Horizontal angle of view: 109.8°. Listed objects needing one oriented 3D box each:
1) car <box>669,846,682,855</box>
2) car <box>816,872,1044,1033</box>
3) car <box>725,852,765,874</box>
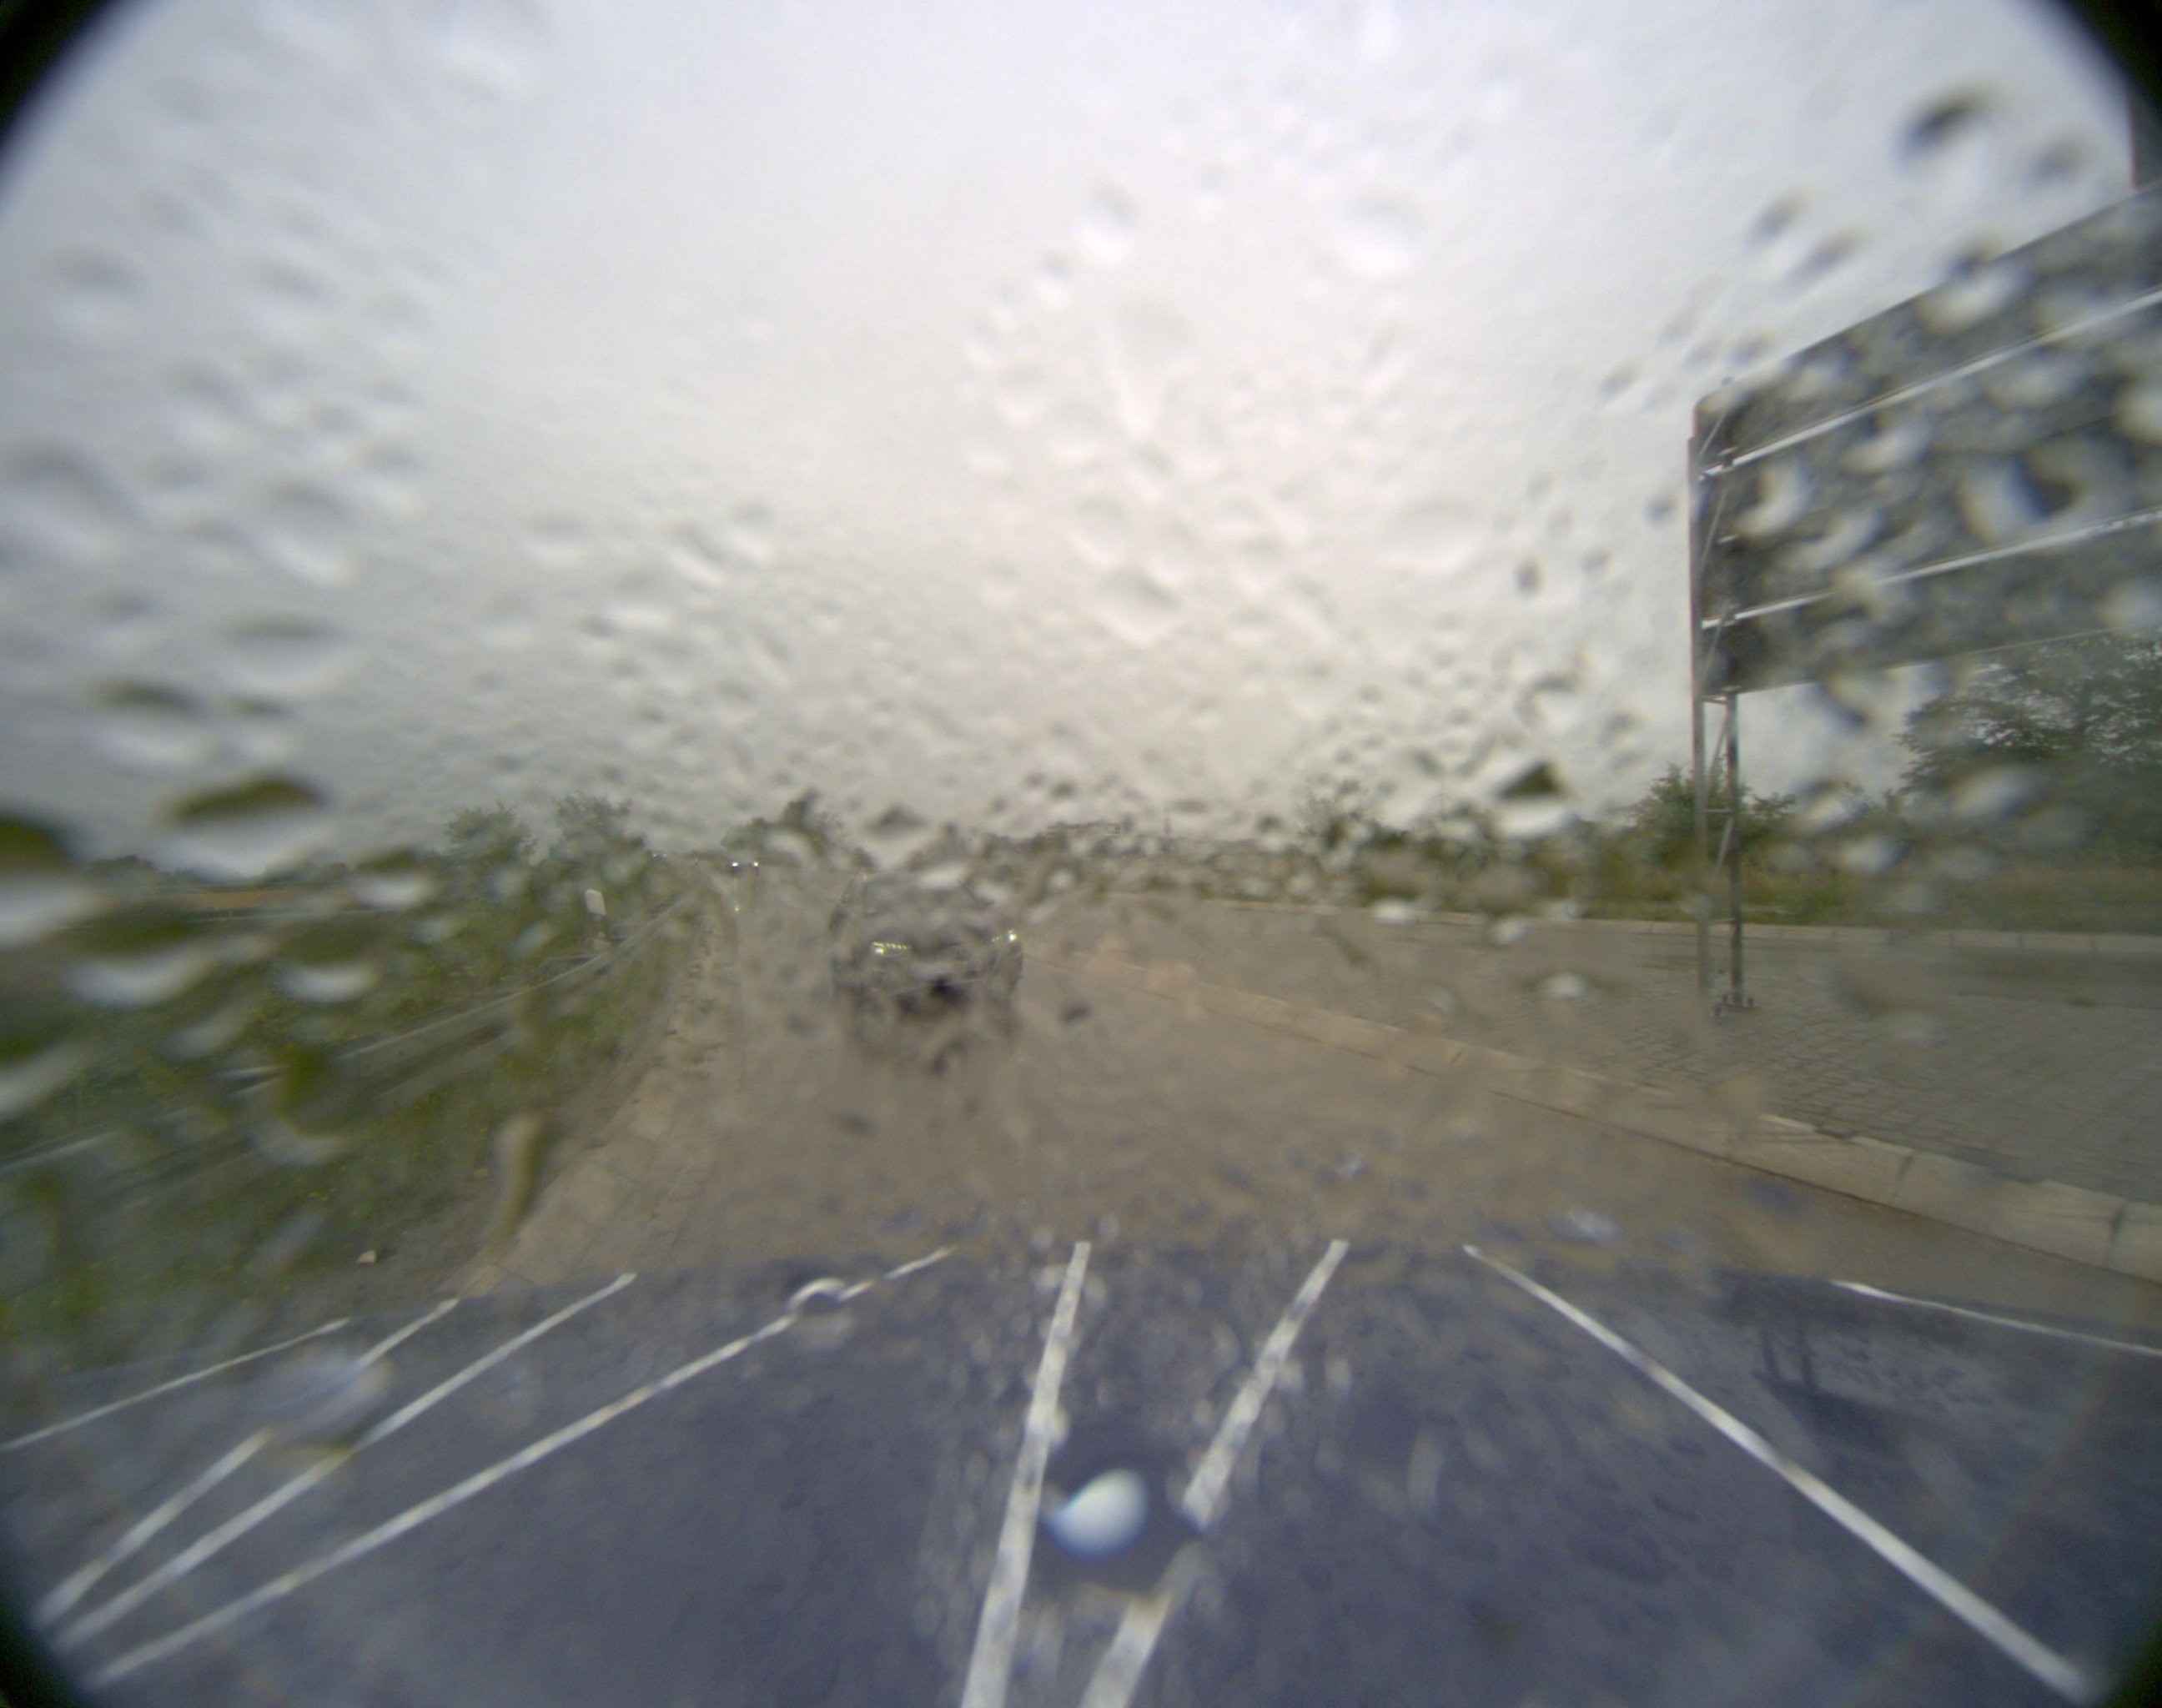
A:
[{"bbox_3d":[-75.447,-0.686,141.421,1.789,1.517,4.158,-2,2,-32],"label":"car"},{"bbox_3d":[-2.219,1.025,9.894,1.912,1.361,4.556,-4,1,-23],"label":"car"},{"bbox_3d":[-23.177,0.594,52.329,1.913,1.361,4.553,-3,2,-31],"label":"car"}]
